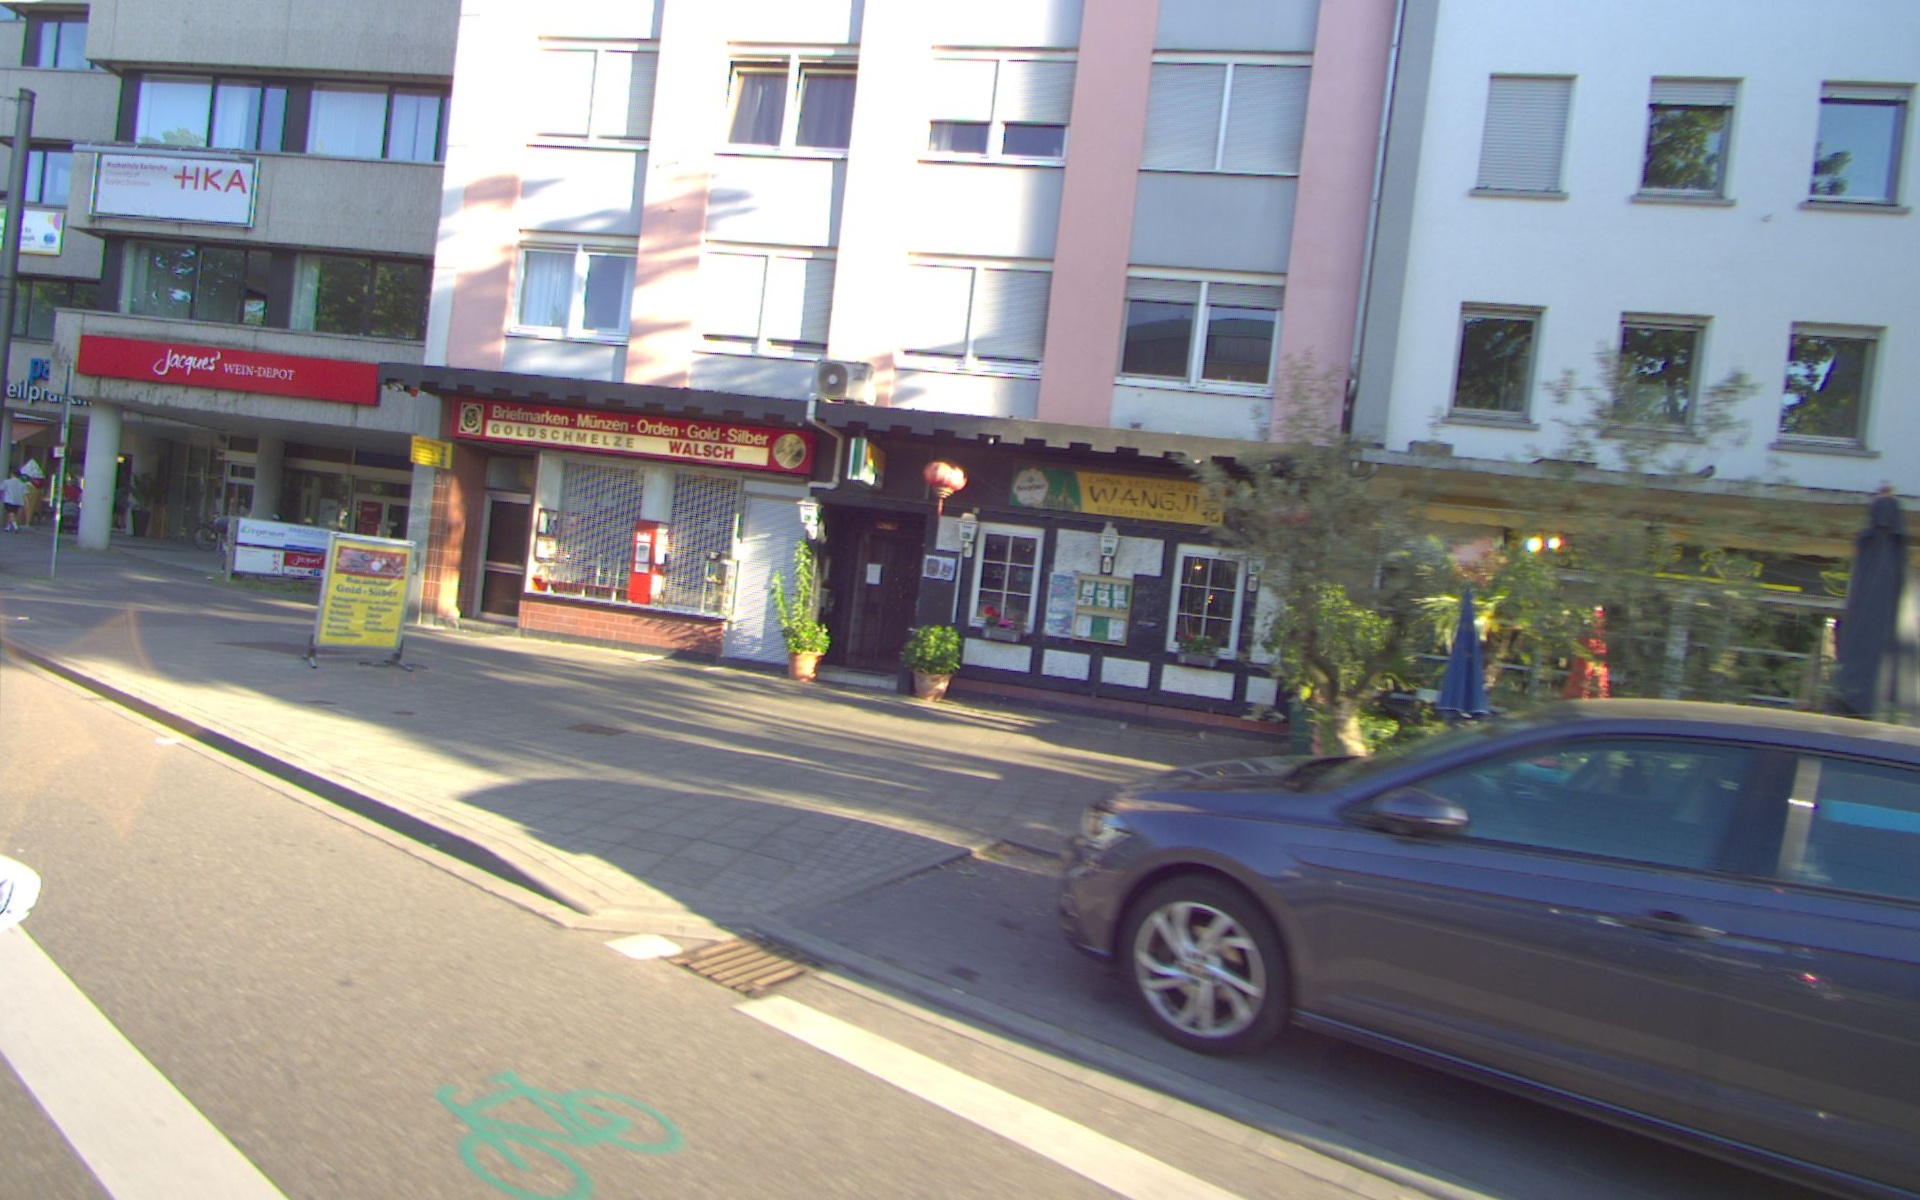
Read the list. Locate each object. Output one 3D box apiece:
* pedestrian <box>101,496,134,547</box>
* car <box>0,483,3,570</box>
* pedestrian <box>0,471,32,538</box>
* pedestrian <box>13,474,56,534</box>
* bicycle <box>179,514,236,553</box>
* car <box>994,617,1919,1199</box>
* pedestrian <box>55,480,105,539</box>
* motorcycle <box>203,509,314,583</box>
[{"bbox_3d":[-31.176,-2.911,37.221,0.511,1.781,0.599,7,0,11],"label":"pedestrian"},{"bbox_3d":[-18.370,-1.402,17.458,4.168,1.577,1.780,7,3,35],"label":"car"},{"bbox_3d":[-25.780,-2.602,27.382,0.651,1.764,0.621,7,4,36],"label":"pedestrian"},{"bbox_3d":[-28.599,-2.966,31.082,1.016,1.749,0.697,7,2,36],"label":"pedestrian"},{"bbox_3d":[-22.922,-2.003,30.671,0.475,1.086,1.756,6,2,-4],"label":"bicycle"},{"bbox_3d":[2.260,1.022,3.699,3.836,1.492,1.727,7,3,33],"label":"car"},{"bbox_3d":[-27.689,-2.833,31.665,0.631,1.695,0.988,7,2,35],"label":"pedestrian"},{"bbox_3d":[-14.349,-1.071,20.631,0.572,1.349,1.786,7,2,22],"label":"motorcycle"}]
